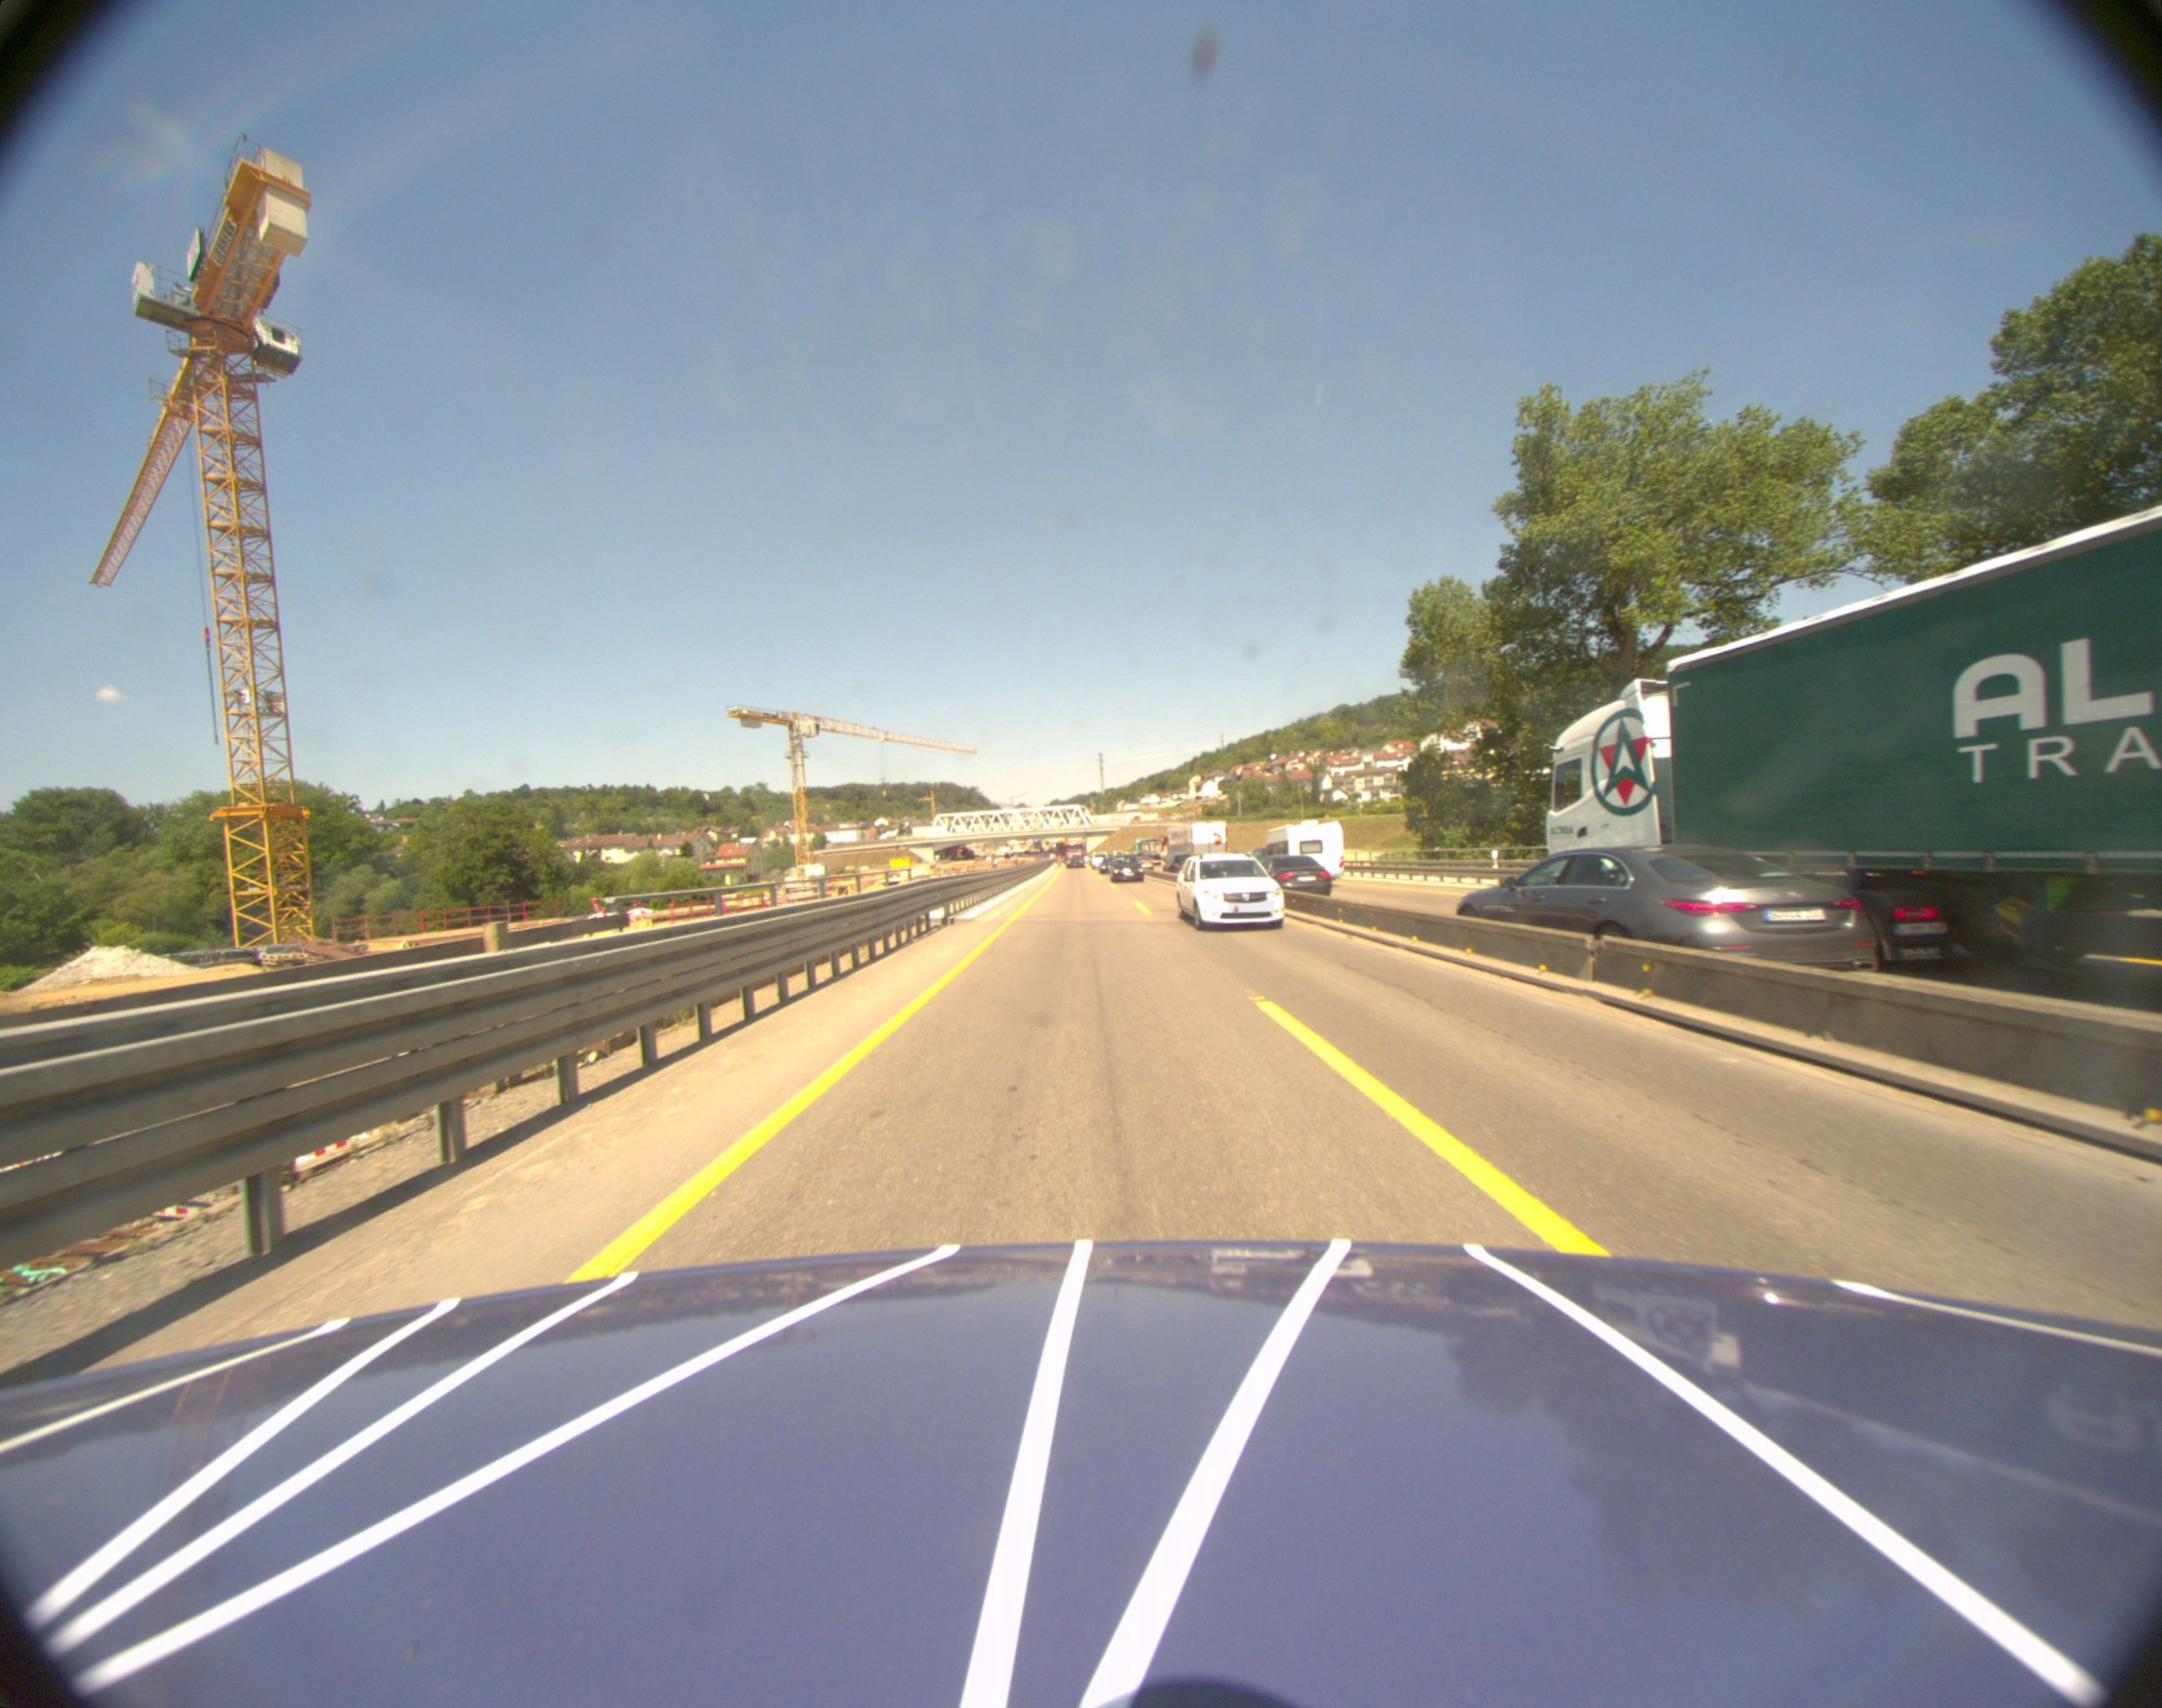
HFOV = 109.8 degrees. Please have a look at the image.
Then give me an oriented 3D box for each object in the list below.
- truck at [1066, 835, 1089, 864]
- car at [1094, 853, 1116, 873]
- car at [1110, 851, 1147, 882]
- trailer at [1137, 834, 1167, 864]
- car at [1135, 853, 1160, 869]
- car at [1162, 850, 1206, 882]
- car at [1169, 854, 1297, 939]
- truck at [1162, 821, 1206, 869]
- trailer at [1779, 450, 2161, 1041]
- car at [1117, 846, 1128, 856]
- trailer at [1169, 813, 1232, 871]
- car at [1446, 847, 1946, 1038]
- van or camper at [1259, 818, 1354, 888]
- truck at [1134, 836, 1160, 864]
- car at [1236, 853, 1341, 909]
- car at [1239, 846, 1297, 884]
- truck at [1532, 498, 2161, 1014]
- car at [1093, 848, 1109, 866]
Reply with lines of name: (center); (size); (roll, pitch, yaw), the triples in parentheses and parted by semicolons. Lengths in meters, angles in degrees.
truck: (-0.421, -0.617, 104.974); (2.702, 3.705, 8.507); (-2, 1, 1)
car: (2.161, 0.798, 68.813); (1.791, 1.578, 4.000); (-4, 0, 1)
car: (2.859, 0.725, 46.251); (1.862, 1.683, 4.097); (-2, 0, -2)
trailer: (9.426, -0.628, 102.418); (2.801, 3.651, 8.956); (-4, 0, -1)
car: (6.265, 0.699, 71.958); (1.906, 1.453, 4.193); (0, 0, -1)
car: (6.142, 0.682, 45.743); (1.852, 1.678, 4.618); (-4, 0, -1)
car: (3.147, 0.804, 16.683); (1.823, 1.521, 4.706); (-2, 0, 0)
truck: (9.204, -0.708, 68.653); (2.823, 4.013, 6.522); (-2, 0, -1)
trailer: (9.653, -0.844, 2.346); (3.109, 4.439, 13.019); (-1, 0, 1)
car: (8.223, -0.548, 151.397); (1.863, 1.856, 4.629); (-1, 0, 1)
trailer: (9.339, -0.814, 60.889); (2.814, 4.152, 11.797); (-2, 0, -1)
car: (6.171, 0.734, 8.562); (1.870, 1.450, 4.607); (-4, 0, 1)
van or camper: (9.561, -0.030, 32.773); (2.510, 2.683, 5.243); (-2, 0, 1)
truck: (9.339, -0.609, 107.872); (2.804, 3.700, 5.373); (-4, 0, -1)
car: (6.135, 0.741, 23.036); (1.782, 1.412, 4.537); (-4, 0, -1)
car: (9.450, 0.527, 38.739); (1.772, 1.724, 4.791); (-2, 0, 0)
truck: (9.761, -0.892, 10.269); (3.085, 4.510, 7.102); (-2, 0, 1)
car: (2.322, 0.341, 89.293); (1.791, 1.870, 4.000); (-4, 0, 1)
